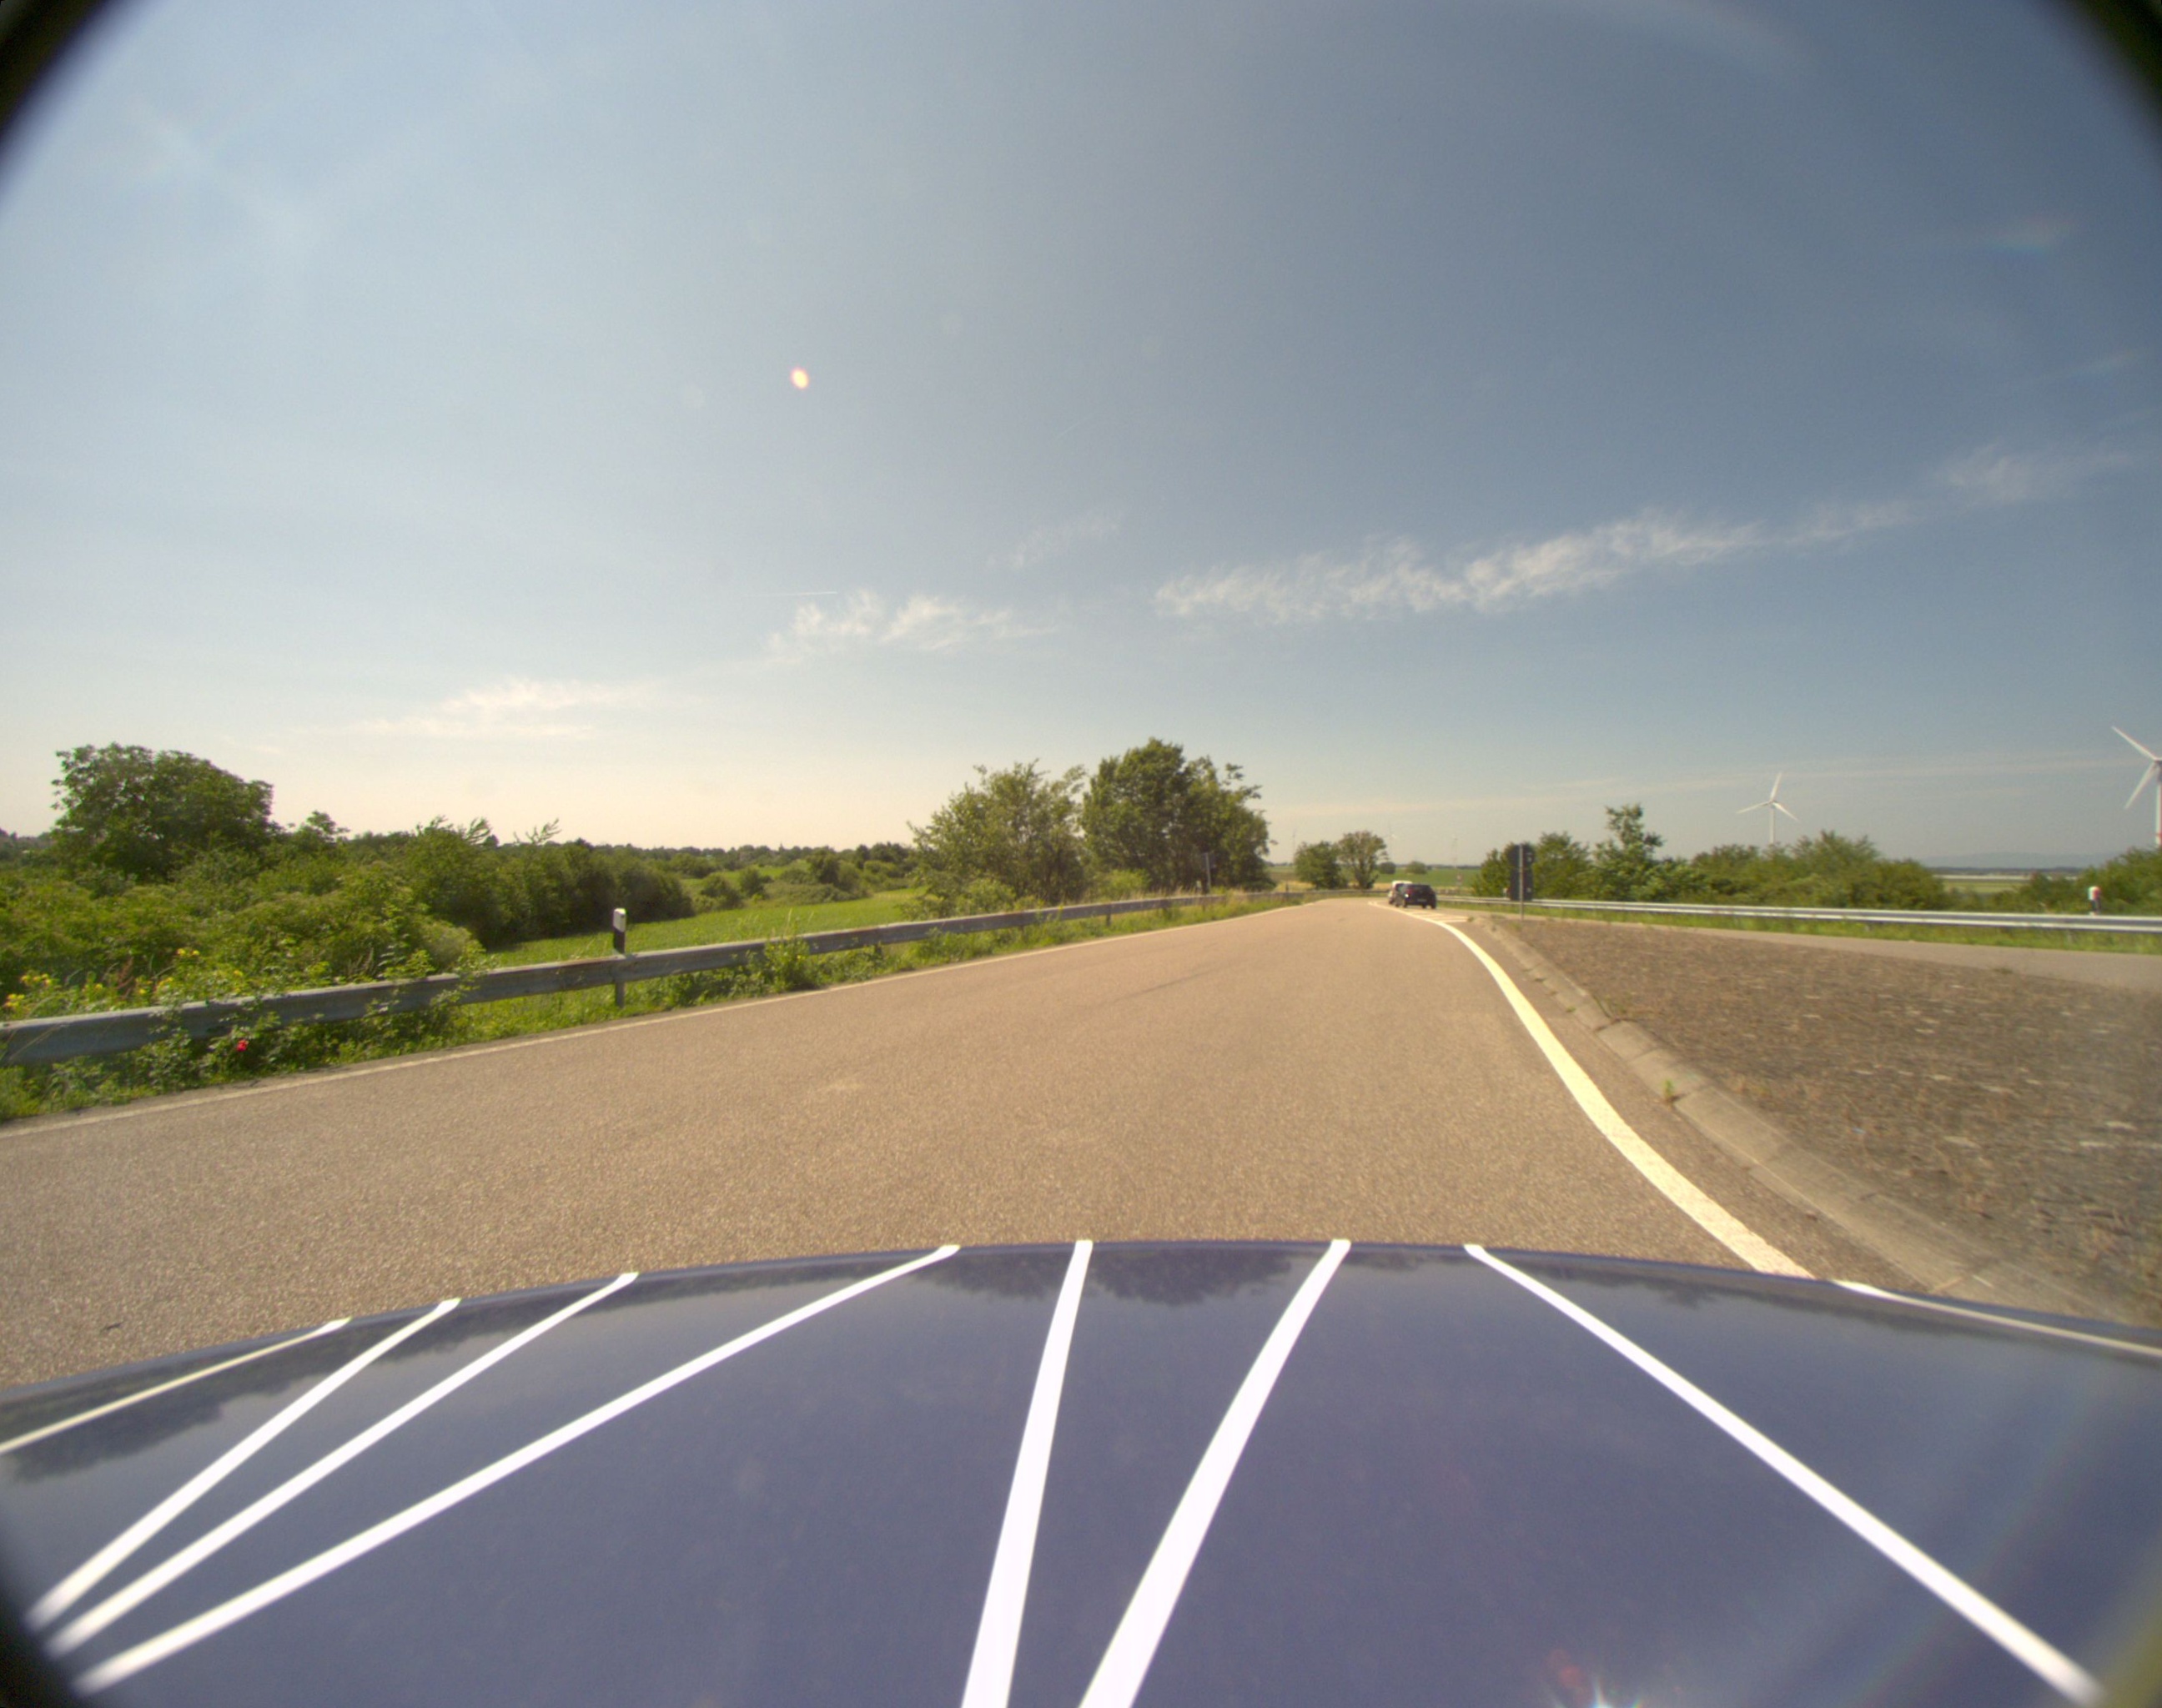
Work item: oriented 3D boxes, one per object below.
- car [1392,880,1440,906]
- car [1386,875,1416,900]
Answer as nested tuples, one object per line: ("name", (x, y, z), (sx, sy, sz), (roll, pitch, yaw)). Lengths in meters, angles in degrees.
("car", (19.353, 2.252, 44.016), (1.711, 1.387, 3.893), (2, -2, 11))
("car", (23.993, 2.531, 57.121), (1.738, 1.750, 4.091), (0, -2, 18))
